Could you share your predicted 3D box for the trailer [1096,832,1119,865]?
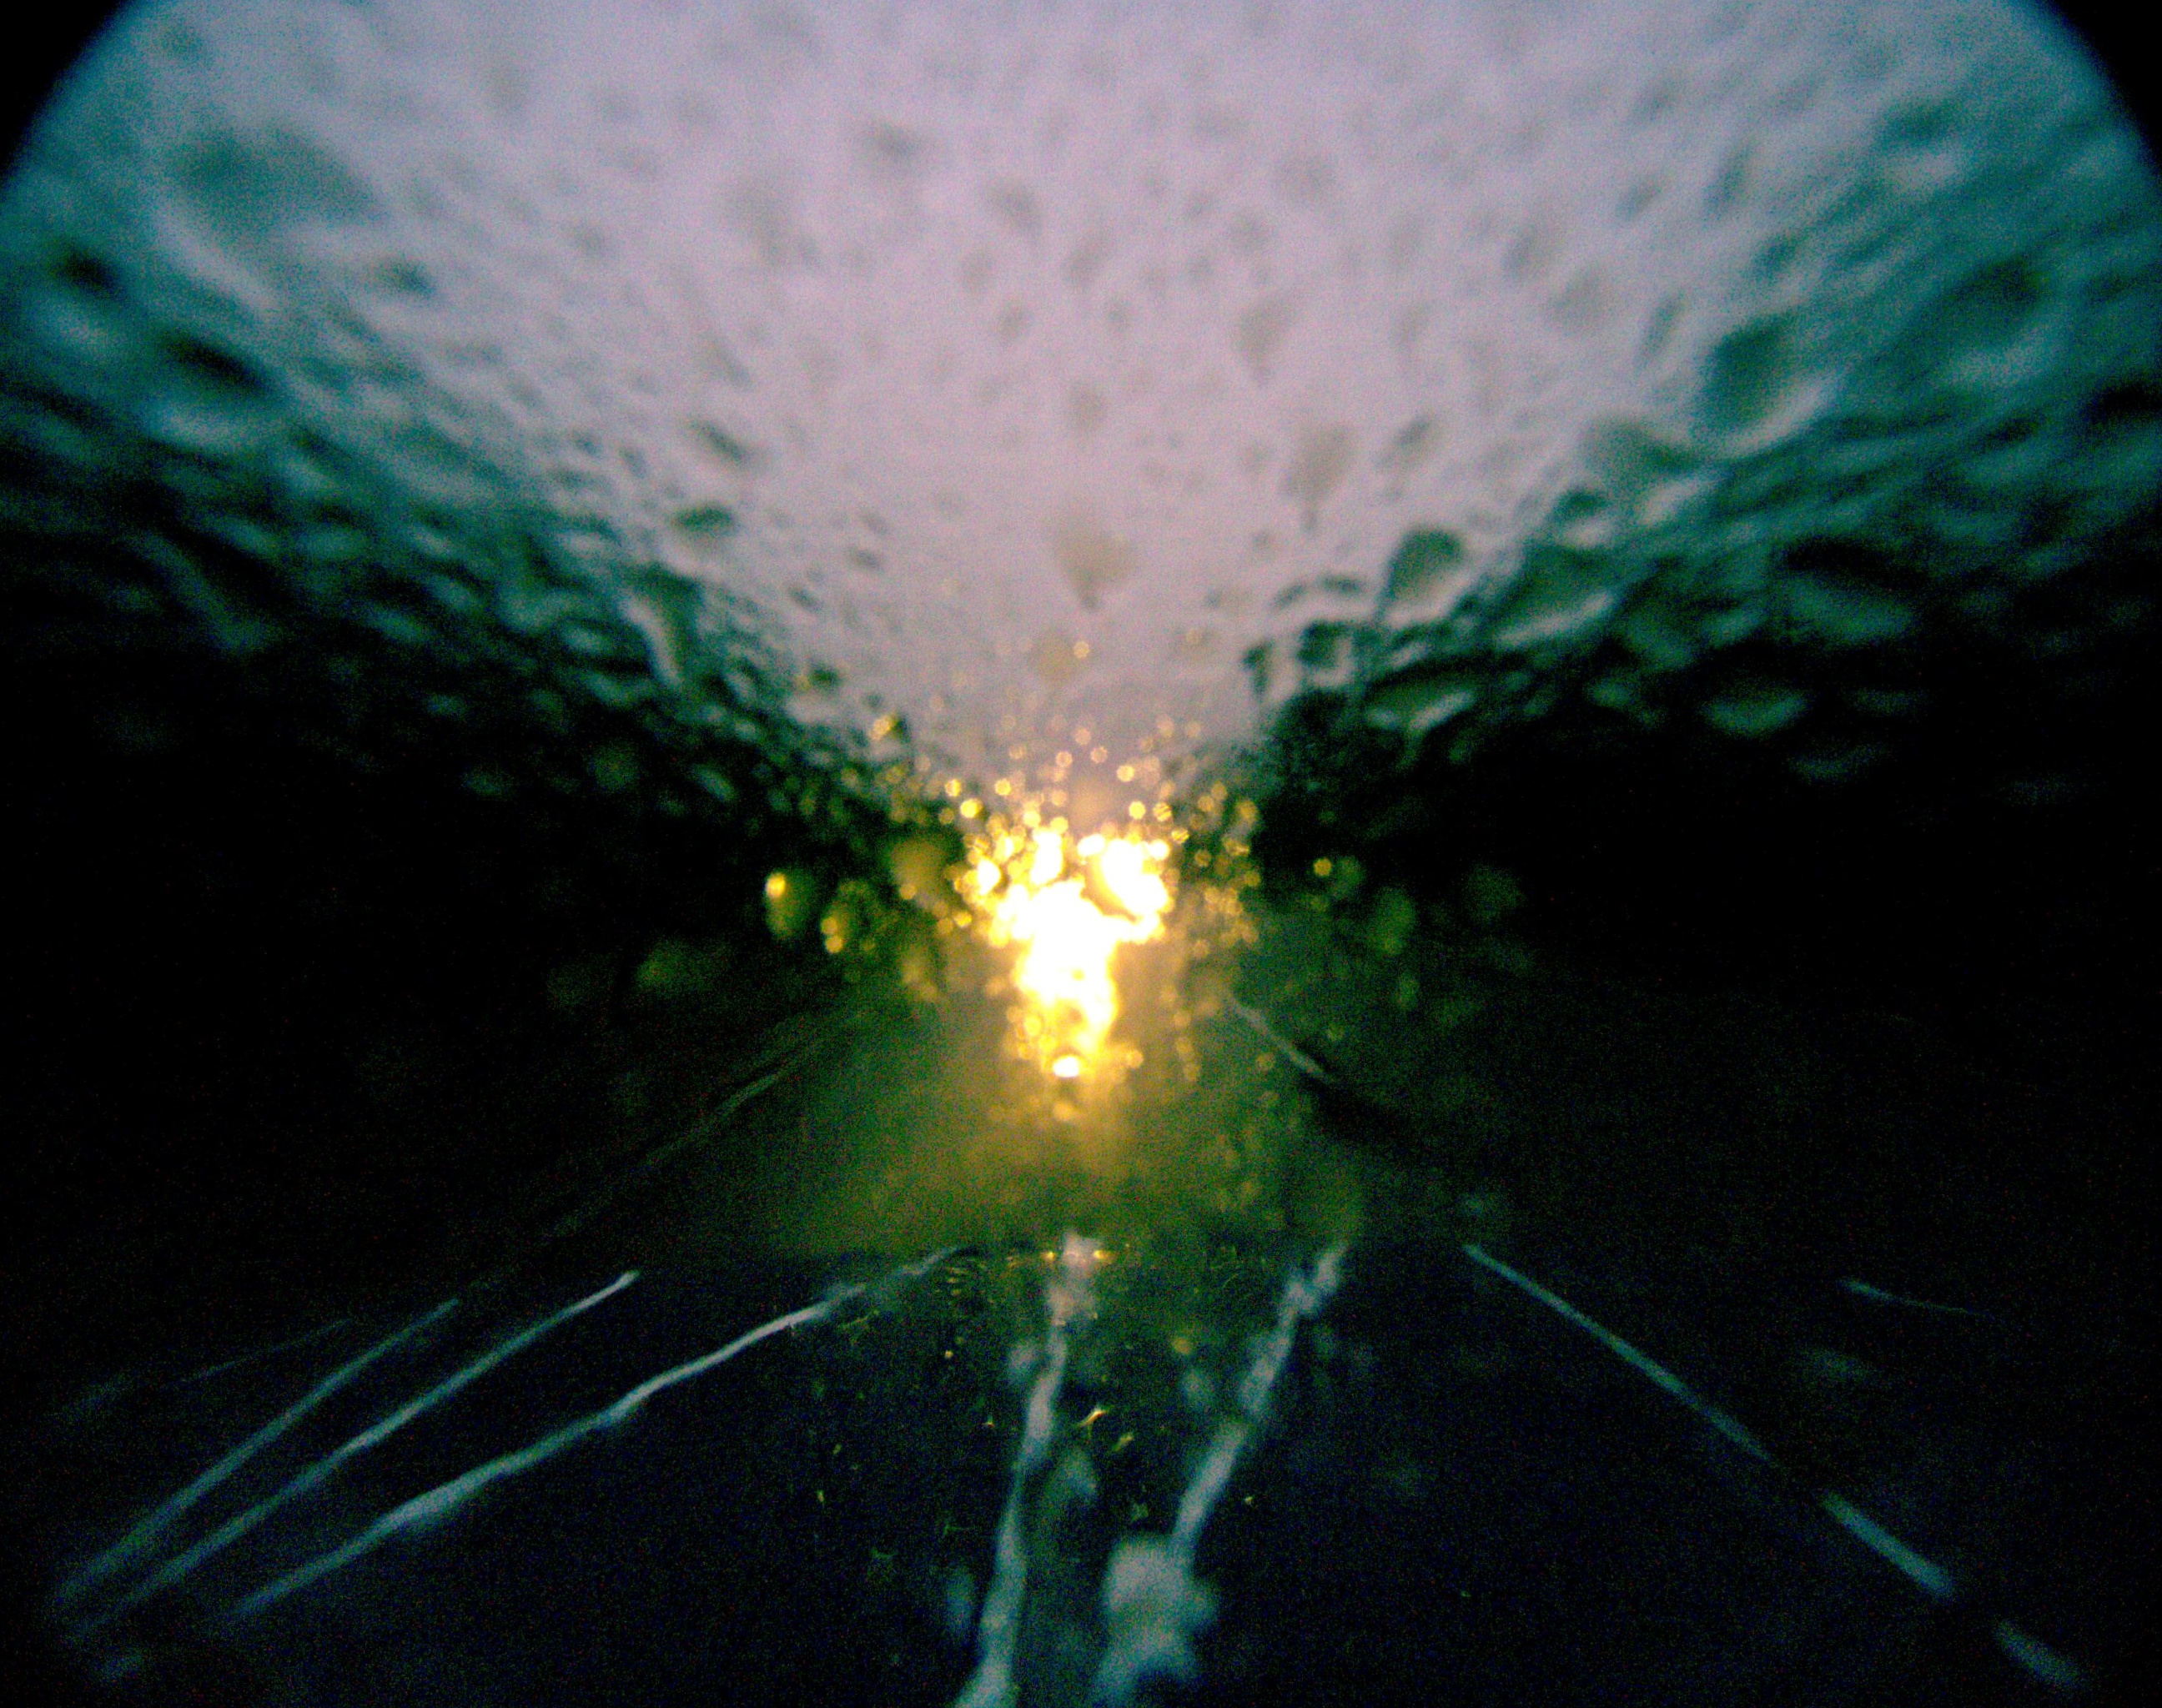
[{"bbox_3d":[3.627,-0.775,108.001,2.678,4.432,12.240,-2,0,0],"label":"trailer"}]
